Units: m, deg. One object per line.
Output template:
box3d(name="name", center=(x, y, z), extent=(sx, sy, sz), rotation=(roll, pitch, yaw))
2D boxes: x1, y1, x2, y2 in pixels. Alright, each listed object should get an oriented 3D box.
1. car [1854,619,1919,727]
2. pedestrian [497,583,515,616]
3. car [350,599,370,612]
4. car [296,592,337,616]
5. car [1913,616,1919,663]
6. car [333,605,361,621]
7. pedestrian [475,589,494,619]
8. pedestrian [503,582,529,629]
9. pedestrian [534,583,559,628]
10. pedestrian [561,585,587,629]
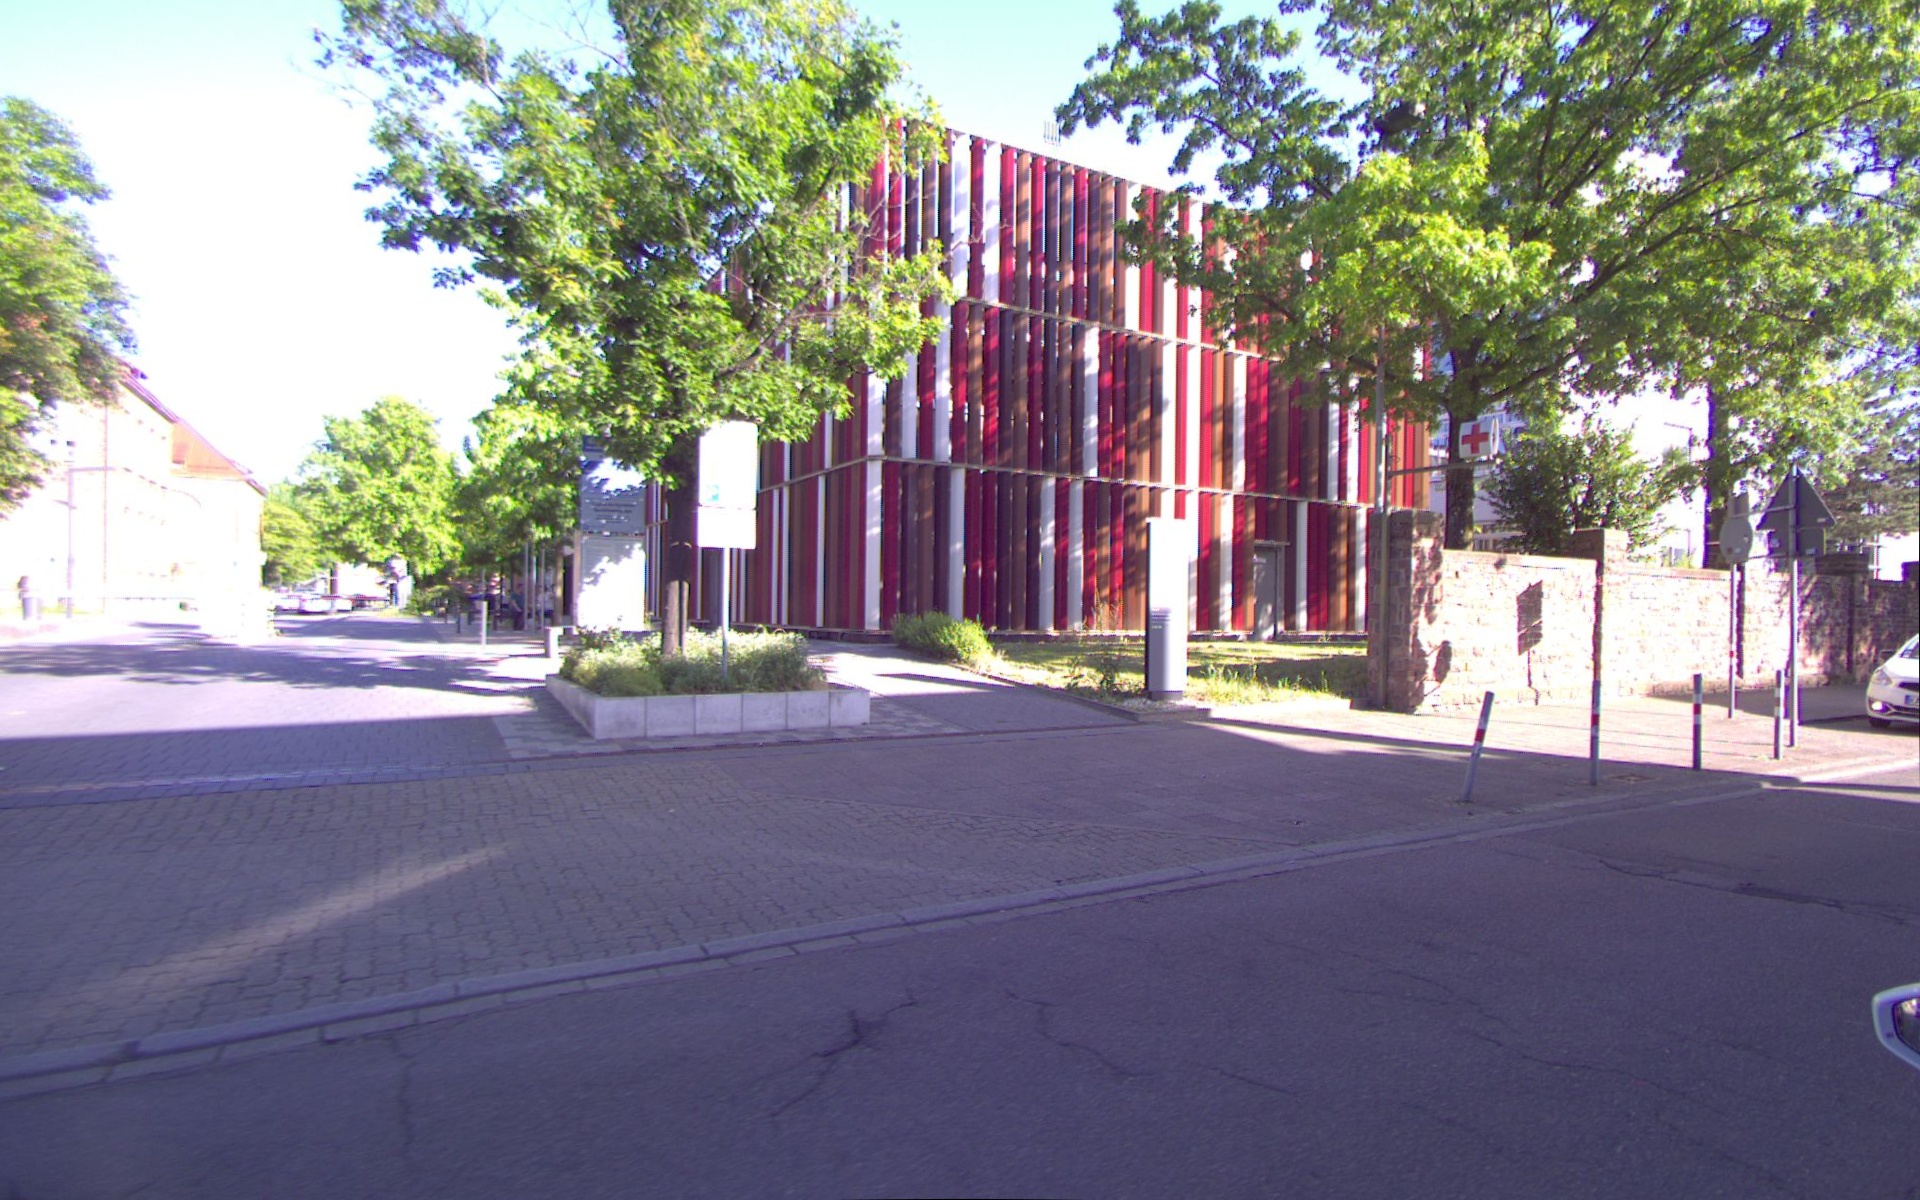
box3d(name="car", center=(14.606, 1.041, 14.412), extent=(3.707, 1.421, 1.565), rotation=(1, 3, -31))
box3d(name="pedestrian", center=(-18.556, -0.031, 41.054), extent=(0.604, 1.336, 0.566), rotation=(1, 1, -34))
box3d(name="car", center=(-69.314, 0.615, 116.093), extent=(1.714, 1.341, 3.050), rotation=(1, 1, -26))
box3d(name="car", center=(-39.172, 0.225, 61.230), extent=(1.714, 1.341, 3.050), rotation=(1, 1, -26))
box3d(name="car", center=(31.184, 1.263, 31.084), extent=(3.799, 1.441, 1.676), rotation=(1, 1, -34))
box3d(name="car", center=(-52.266, 1.095, 85.725), extent=(1.714, 1.341, 3.050), rotation=(1, 0, -26))
box3d(name="pedestrian", center=(-19.230, 0.178, 40.634), extent=(0.604, 1.192, 0.566), rotation=(1, 1, -34))
box3d(name="pedestrian", center=(-13.454, 0.169, 30.444), extent=(0.605, 1.398, 0.565), rotation=(1, 1, -36))
box3d(name="pedestrian", center=(-12.721, 0.159, 30.906), extent=(0.605, 1.371, 0.565), rotation=(1, 1, -36))
box3d(name="pedestrian", center=(-12.054, 0.219, 31.349), extent=(0.605, 1.371, 0.565), rotation=(1, 1, -36))
